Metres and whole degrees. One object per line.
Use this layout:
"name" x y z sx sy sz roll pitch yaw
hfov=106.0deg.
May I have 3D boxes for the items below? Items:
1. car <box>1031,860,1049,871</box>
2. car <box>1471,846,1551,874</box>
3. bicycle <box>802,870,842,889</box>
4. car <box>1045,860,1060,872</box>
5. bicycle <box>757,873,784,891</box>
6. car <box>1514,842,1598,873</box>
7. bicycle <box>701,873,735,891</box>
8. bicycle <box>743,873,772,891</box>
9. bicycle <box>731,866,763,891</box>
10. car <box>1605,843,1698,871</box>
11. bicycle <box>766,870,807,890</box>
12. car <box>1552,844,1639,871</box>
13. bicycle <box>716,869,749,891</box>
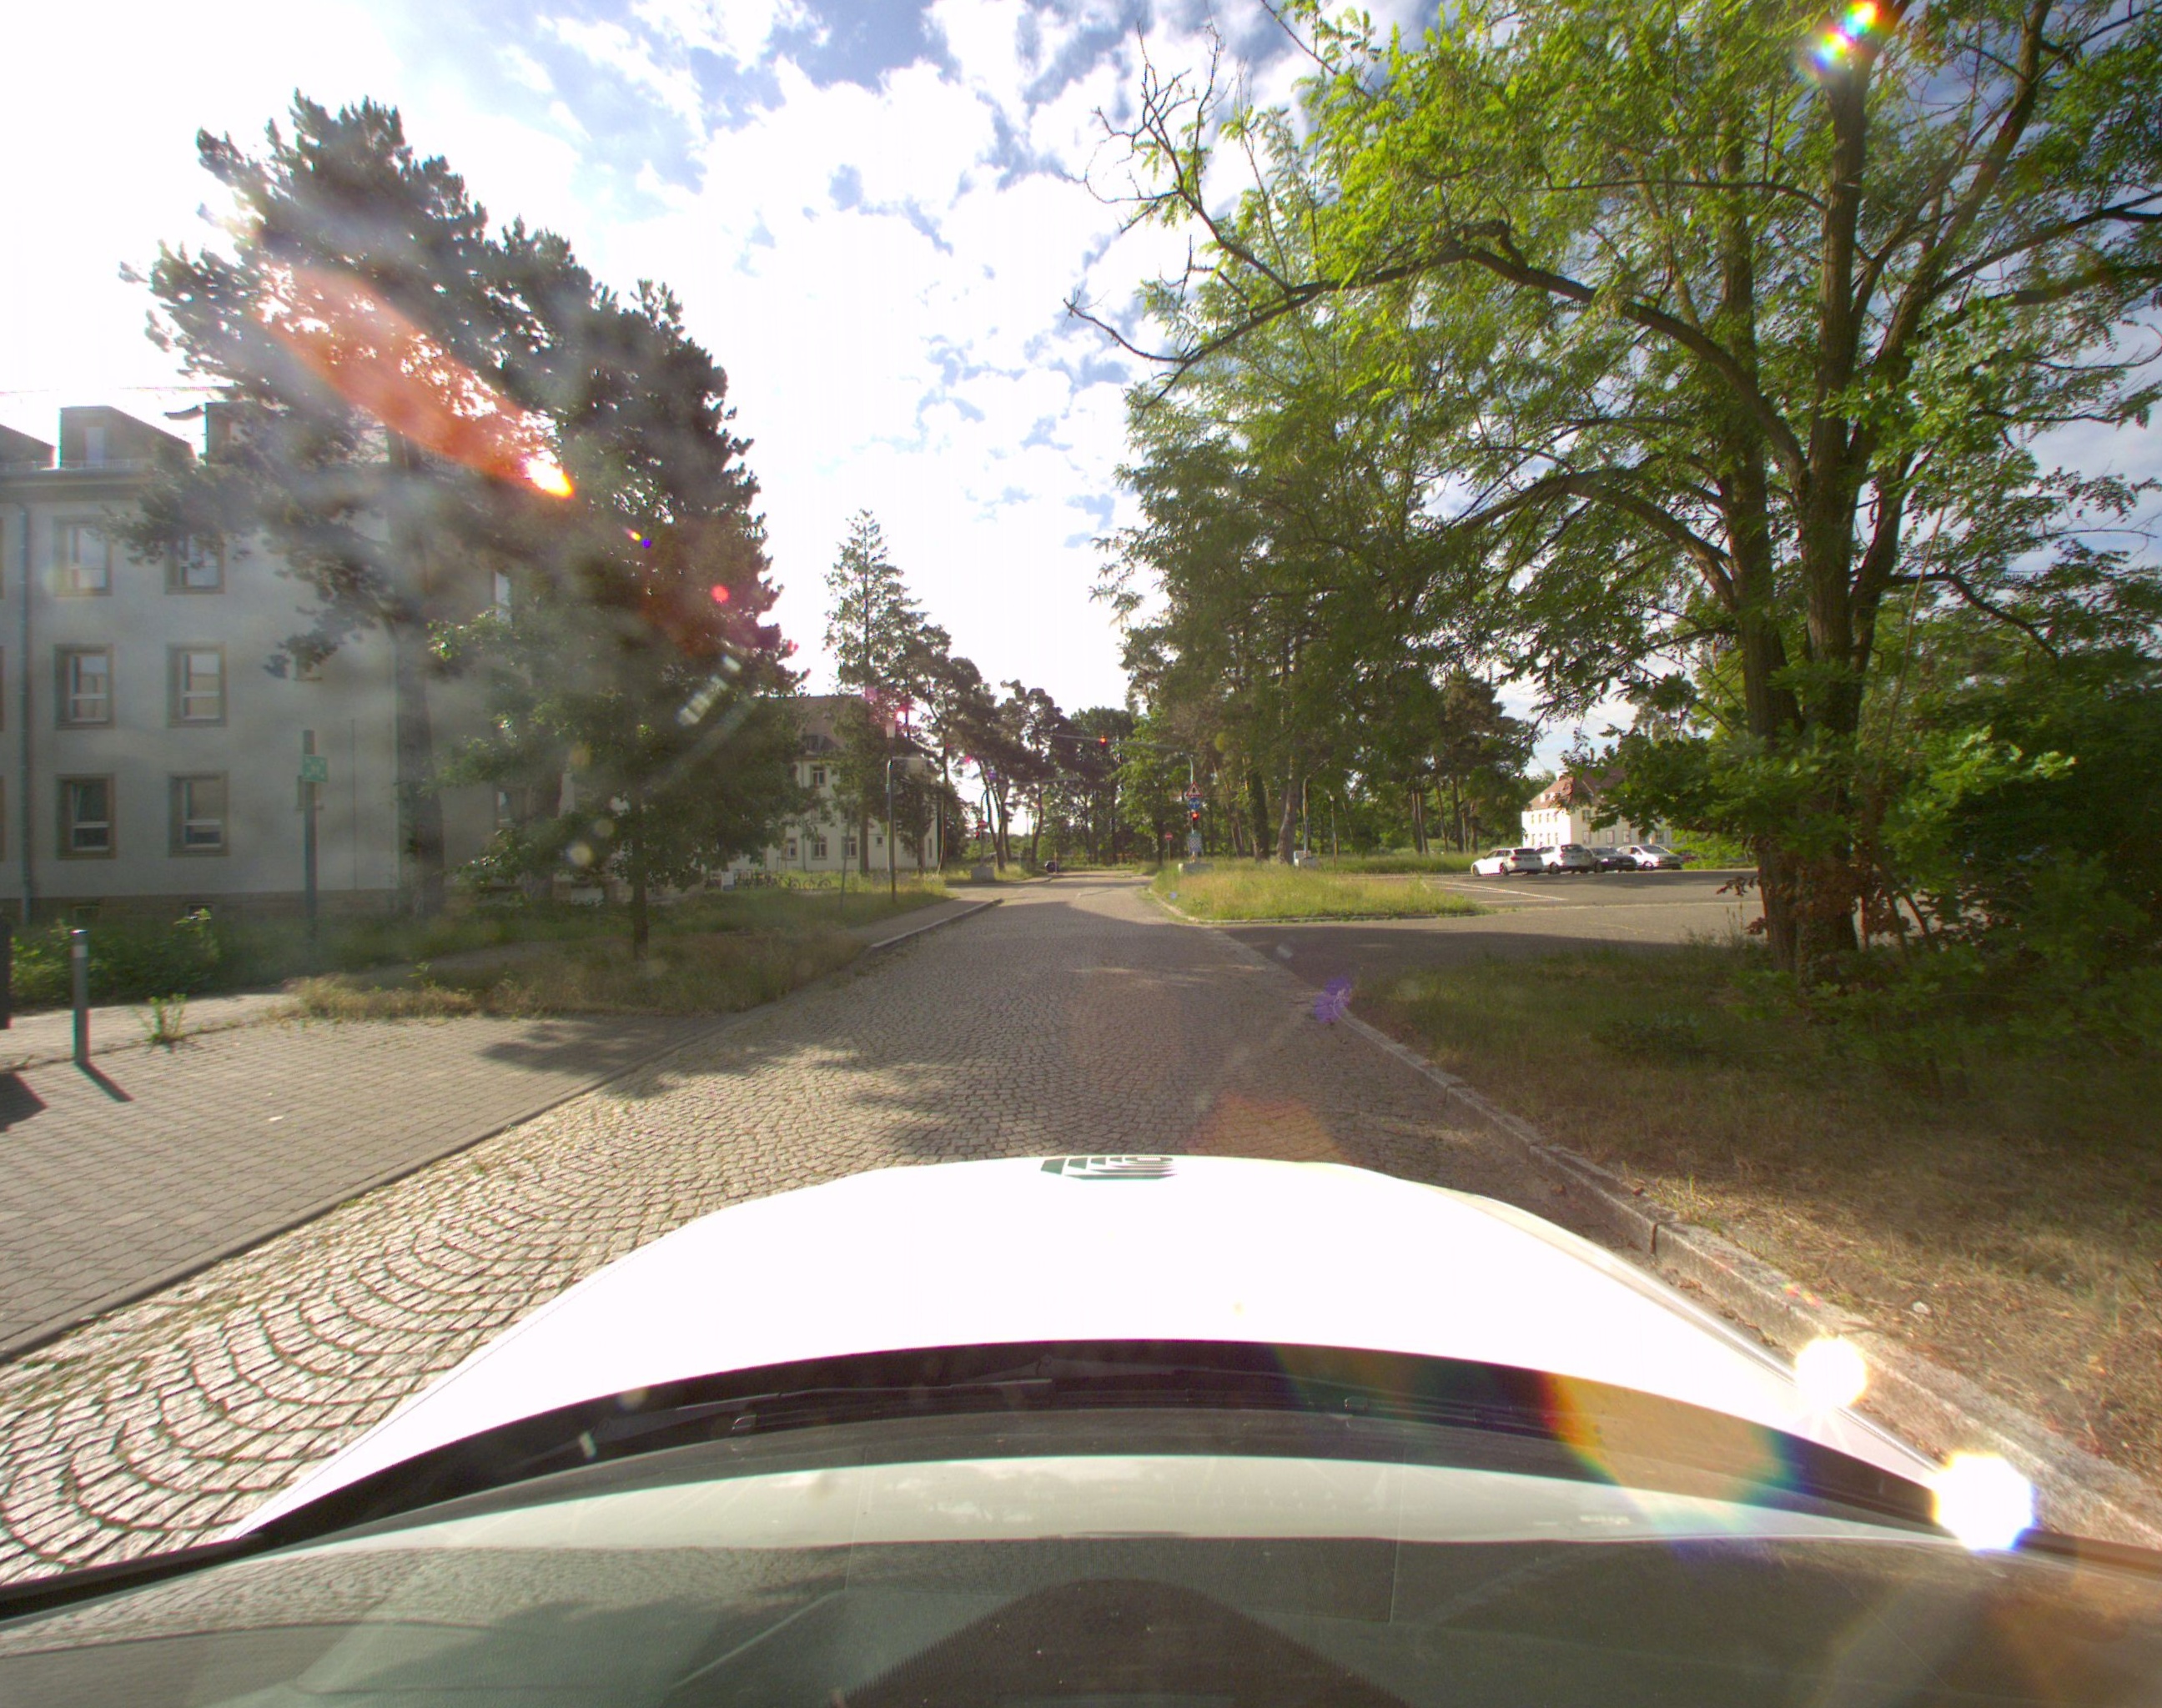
"car" -5.578 1.568 110.986 1.772 1.490 3.764 -2 0 8
"car" 22.183 0.301 42.257 1.726 1.312 4.328 -2 0 -2
"bicycle" -15.506 1.540 48.841 2.112 1.047 0.828 -2 -1 -3
"car" -3.664 1.507 106.179 1.840 1.486 3.998 -2 0 -1
"bicycle" -19.052 1.694 50.022 0.823 1.047 2.124 -2 0 1
"car" 24.702 0.206 42.546 1.726 1.476 4.328 -2 0 -2
"bicycle" -22.294 1.705 50.043 0.897 1.047 2.554 -2 0 1
"bicycle" -19.833 1.696 49.985 0.823 1.047 2.124 -2 0 1
"bicycle" -20.621 1.493 50.334 0.823 1.437 2.554 -2 0 1
"car" 30.056 0.161 43.090 1.726 1.312 4.328 -2 0 -2
"bicycle" -17.628 1.549 48.762 2.112 1.108 0.828 -2 -1 -3
"car" 26.999 0.195 42.919 1.726 1.312 4.328 -2 0 -2
"bicycle" -21.397 1.585 50.037 0.823 1.281 2.554 -2 0 1
